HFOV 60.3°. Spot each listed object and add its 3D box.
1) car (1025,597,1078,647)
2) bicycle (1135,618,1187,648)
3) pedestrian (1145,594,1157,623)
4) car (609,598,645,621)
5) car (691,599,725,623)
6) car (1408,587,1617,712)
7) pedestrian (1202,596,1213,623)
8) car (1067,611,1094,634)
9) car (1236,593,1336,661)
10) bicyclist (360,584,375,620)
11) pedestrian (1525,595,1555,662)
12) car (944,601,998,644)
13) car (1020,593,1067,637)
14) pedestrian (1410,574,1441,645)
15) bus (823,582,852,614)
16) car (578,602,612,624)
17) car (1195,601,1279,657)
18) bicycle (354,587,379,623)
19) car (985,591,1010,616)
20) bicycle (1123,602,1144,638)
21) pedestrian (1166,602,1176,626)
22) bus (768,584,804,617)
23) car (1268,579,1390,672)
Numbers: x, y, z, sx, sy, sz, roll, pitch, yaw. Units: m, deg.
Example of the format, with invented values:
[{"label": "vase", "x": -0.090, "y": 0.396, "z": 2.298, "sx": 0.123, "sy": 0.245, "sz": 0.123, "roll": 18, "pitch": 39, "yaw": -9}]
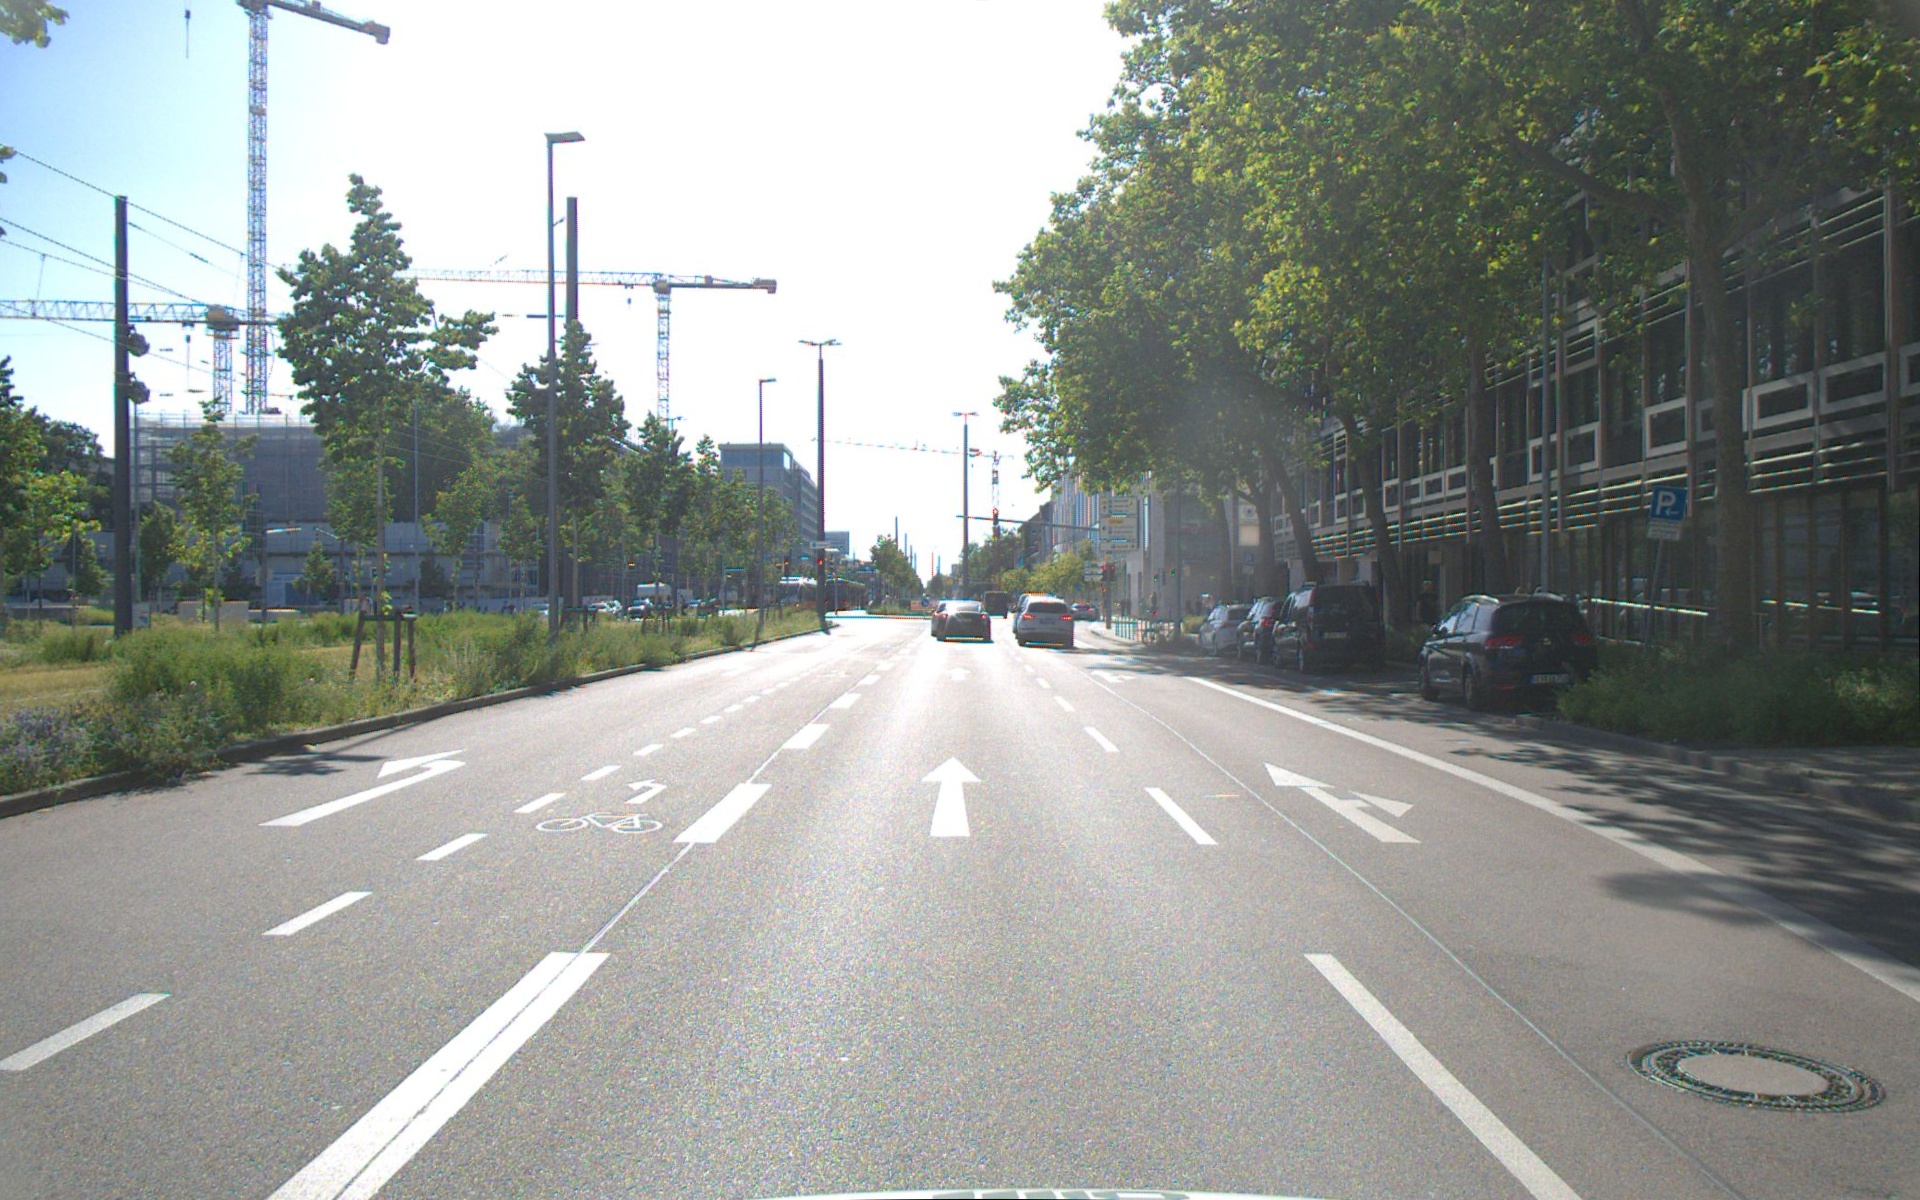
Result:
[{"label": "car", "x": 3.089, "y": 0.715, "z": 56.388, "sx": 1.686, "sy": 1.646, "sz": 4.187, "roll": 0, "pitch": 0, "yaw": 2}, {"label": "bicycle", "x": 6.859, "y": 1.113, "z": 56.438, "sx": 1.660, "sy": 0.974, "sz": 0.478, "roll": -2, "pitch": 0, "yaw": -4}, {"label": "pedestrian", "x": 9.927, "y": 0.440, "z": 85.928, "sx": 0.550, "sy": 1.466, "sz": 0.632, "roll": 2, "pitch": -1, "yaw": 7}, {"label": "car", "x": -18.494, "y": 0.553, "z": 91.863, "sx": 1.348, "sy": 1.199, "sz": 3.219, "roll": 2, "pitch": -1, "yaw": -1}, {"label": "car", "x": -13.926, "y": 0.619, "z": 91.410, "sx": 1.348, "sy": 1.199, "sz": 3.219, "roll": 2, "pitch": -1, "yaw": -1}, {"label": "car", "x": 7.982, "y": 0.652, "z": 24.336, "sx": 1.668, "sy": 1.672, "sz": 4.637, "roll": 0, "pitch": 0, "yaw": 2}, {"label": "pedestrian", "x": 13.760, "y": 0.514, "z": 91.945, "sx": 0.550, "sy": 1.466, "sz": 0.632, "roll": 2, "pitch": -1, "yaw": 7}, {"label": "car", "x": 9.184, "y": 1.711, "z": 126.404, "sx": 1.628, "sy": 1.678, "sz": 3.699, "roll": 2, "pitch": -1, "yaw": -2}, {"label": "car", "x": 8.036, "y": 0.644, "z": 41.120, "sx": 1.669, "sy": 1.591, "sz": 4.192, "roll": 0, "pitch": 0, "yaw": 0}, {"label": "bicyclist", "x": -24.874, "y": 0.073, "z": 69.425, "sx": 0.386, "sy": 1.480, "sz": 0.539, "roll": 2, "pitch": -1, "yaw": -1}, {"label": "pedestrian", "x": 14.333, "y": 0.704, "z": 40.870, "sx": 0.542, "sy": 1.631, "sz": 0.573, "roll": 0, "pitch": 0, "yaw": 0}, {"label": "car", "x": 0.374, "y": 0.785, "z": 60.537, "sx": 1.873, "sy": 1.512, "sz": 4.009, "roll": 0, "pitch": 0, "yaw": -1}, {"label": "car", "x": 3.538, "y": 0.607, "z": 70.558, "sx": 1.687, "sy": 1.814, "sz": 4.185, "roll": 0, "pitch": 0, "yaw": -1}, {"label": "pedestrian", "x": 12.997, "y": 0.263, "z": 46.140, "sx": 0.663, "sy": 1.950, "sz": 0.557, "roll": 2, "pitch": -1, "yaw": 0}, {"label": "bus", "x": -12.461, "y": -0.147, "z": 168.520, "sx": 2.575, "sy": 3.011, "sz": 9.893, "roll": 2, "pitch": -1, "yaw": -2}, {"label": "car", "x": -29.087, "y": 1.028, "z": 131.894, "sx": 1.800, "sy": 1.641, "sz": 3.895, "roll": 2, "pitch": -1, "yaw": 0}, {"label": "car", "x": 7.966, "y": 0.811, "z": 47.912, "sx": 1.669, "sy": 1.519, "sz": 4.600, "roll": 0, "pitch": 0, "yaw": 0}, {"label": "bicycle", "x": -24.888, "y": 0.218, "z": 69.364, "sx": 0.353, "sy": 1.481, "sz": 1.913, "roll": 0, "pitch": 0, "yaw": 0}, {"label": "car", "x": 3.168, "y": 0.319, "z": 140.357, "sx": 1.953, "sy": 2.049, "sz": 4.000, "roll": 2, "pitch": -1, "yaw": 0}, {"label": "bicycle", "x": 7.285, "y": 0.851, "z": 69.509, "sx": 0.550, "sy": 1.466, "sz": 2.576, "roll": 2, "pitch": -1, "yaw": -1}, {"label": "pedestrian", "x": 12.942, "y": 0.857, "z": 101.432, "sx": 0.550, "sy": 1.466, "sz": 0.632, "roll": 2, "pitch": -1, "yaw": 7}, {"label": "bus", "x": -15.876, "y": 0.068, "z": 151.423, "sx": 2.575, "sy": 2.832, "sz": 8.839, "roll": 2, "pitch": -1, "yaw": -2}, {"label": "car", "x": 7.892, "y": 0.509, "z": 35.744, "sx": 1.669, "sy": 1.821, "sz": 4.192, "roll": -2, "pitch": 0, "yaw": 0}]
